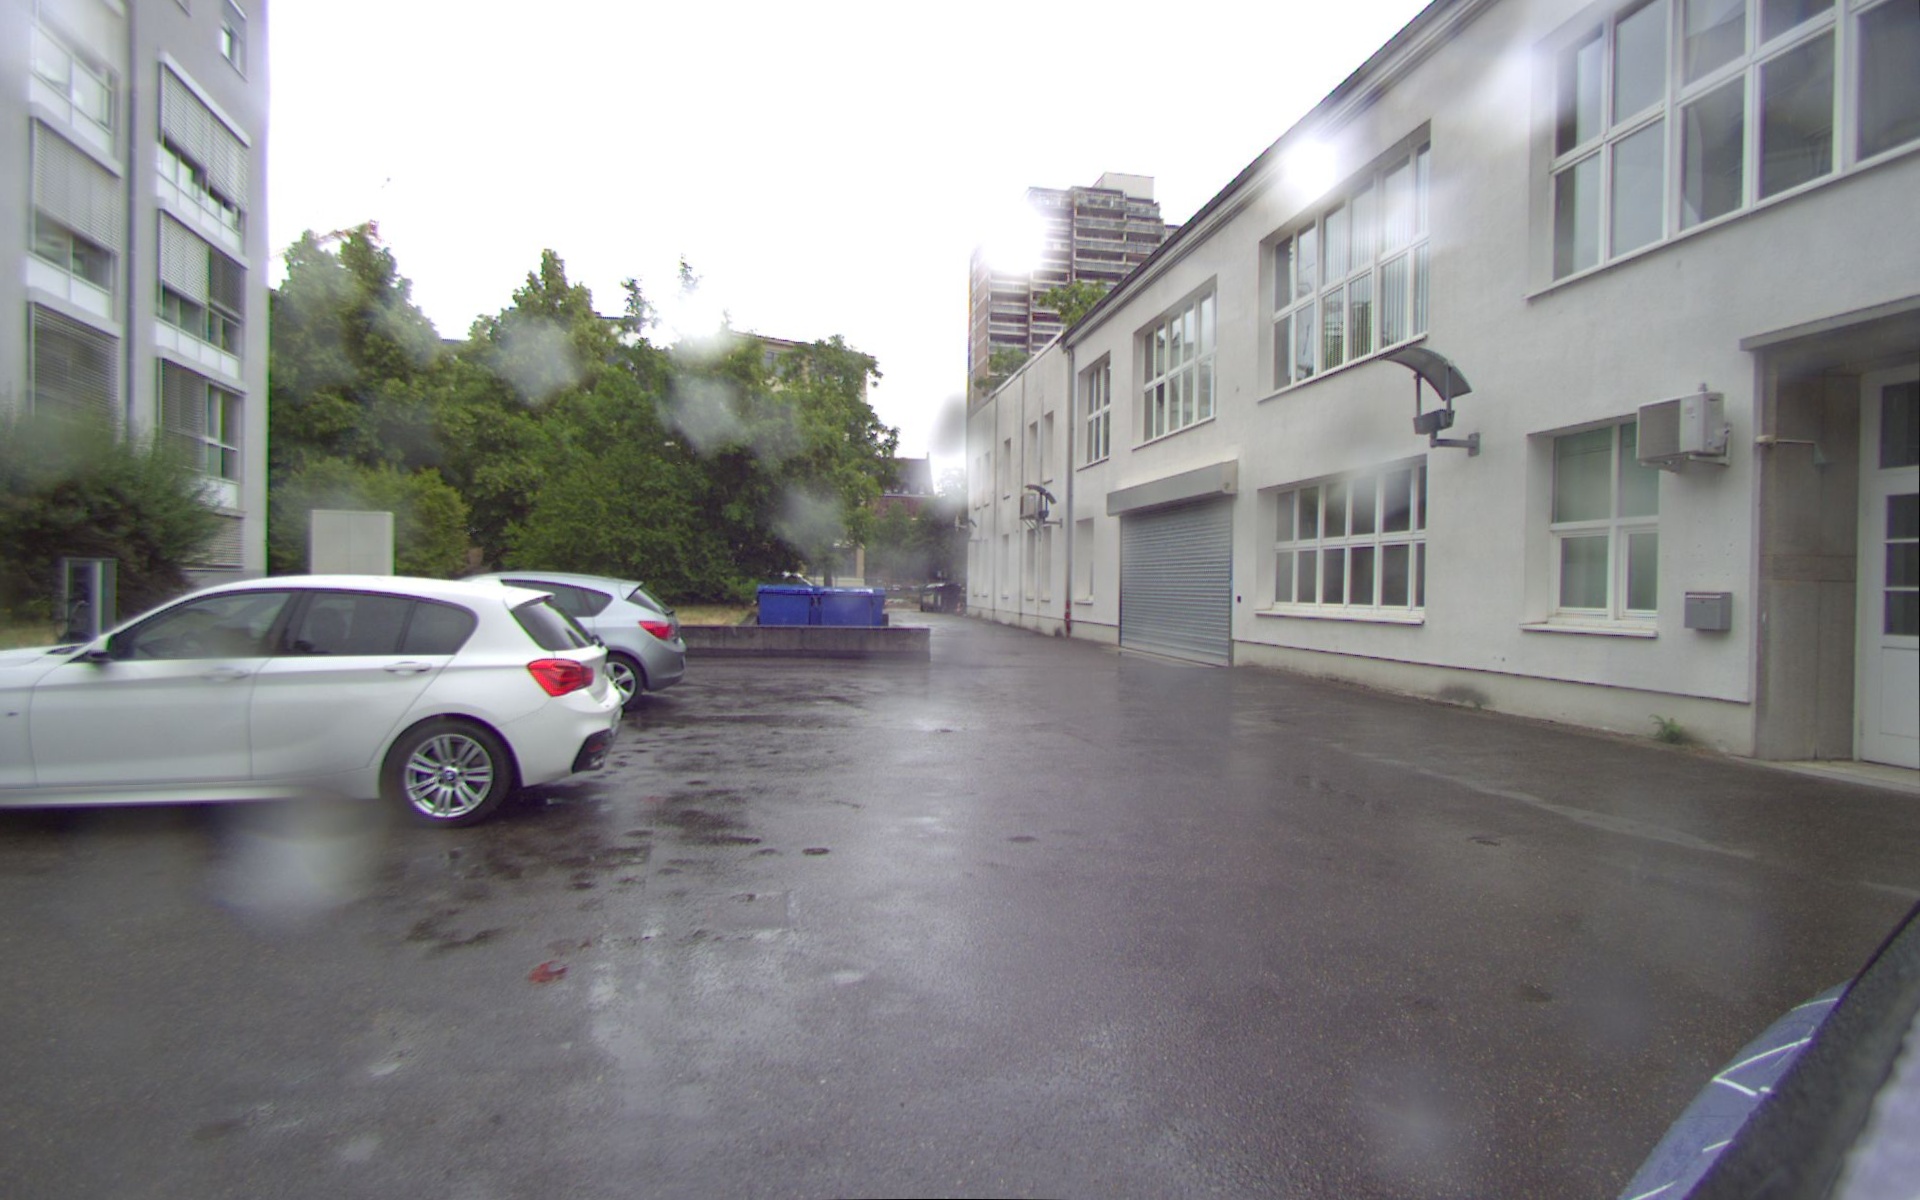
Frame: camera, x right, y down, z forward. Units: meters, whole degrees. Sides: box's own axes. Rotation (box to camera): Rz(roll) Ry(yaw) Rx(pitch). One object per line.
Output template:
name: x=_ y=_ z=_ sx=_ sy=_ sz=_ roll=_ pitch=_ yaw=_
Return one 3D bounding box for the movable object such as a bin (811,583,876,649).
movable object such as a bin: x=-2.576 y=0.350 z=22.178 sx=1.286 sy=1.375 sz=1.908 roll=-1 pitch=-1 yaw=-10

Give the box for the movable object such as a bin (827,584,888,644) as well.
movable object such as a bin: x=-2.473 y=0.329 z=24.144 sx=1.286 sy=1.375 sz=1.908 roll=-1 pitch=-1 yaw=-10

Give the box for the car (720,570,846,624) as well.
car: x=-6.690 y=-0.091 z=38.571 sx=4.602 sy=1.906 sz=2.125 roll=-1 pitch=-2 yaw=-8

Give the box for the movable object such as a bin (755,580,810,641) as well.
movable object such as a bin: x=-4.207 y=0.253 z=23.923 sx=1.208 sy=1.375 sz=1.973 roll=-1 pitch=-1 yaw=-10

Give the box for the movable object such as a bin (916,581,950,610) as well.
movable object such as a bin: x=-1.409 y=-0.234 z=51.766 sx=1.461 sy=1.467 sz=1.316 roll=0 pitch=-1 yaw=-15

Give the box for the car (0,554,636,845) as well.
car: x=-4.309 y=0.515 z=6.437 sx=4.132 sy=1.508 sz=2.004 roll=1 pitch=0 yaw=-14

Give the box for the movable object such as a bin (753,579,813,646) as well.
movable object such as a bin: x=-3.850 y=0.271 z=21.952 sx=1.208 sy=1.375 sz=1.973 roll=-1 pitch=-1 yaw=-10

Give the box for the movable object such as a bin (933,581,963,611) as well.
movable object such as a bin: x=-0.588 y=-0.175 z=48.933 sx=1.163 sy=1.391 sz=1.316 roll=0 pitch=-1 yaw=-15

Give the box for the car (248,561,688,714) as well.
car: x=-5.250 y=0.379 z=11.449 sx=4.132 sy=1.508 sz=2.004 roll=1 pitch=0 yaw=-14

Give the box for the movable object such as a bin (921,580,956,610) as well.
movable object such as a bin: x=-1.078 y=-0.223 z=50.455 sx=1.461 sy=1.467 sz=1.316 roll=0 pitch=-1 yaw=-15
